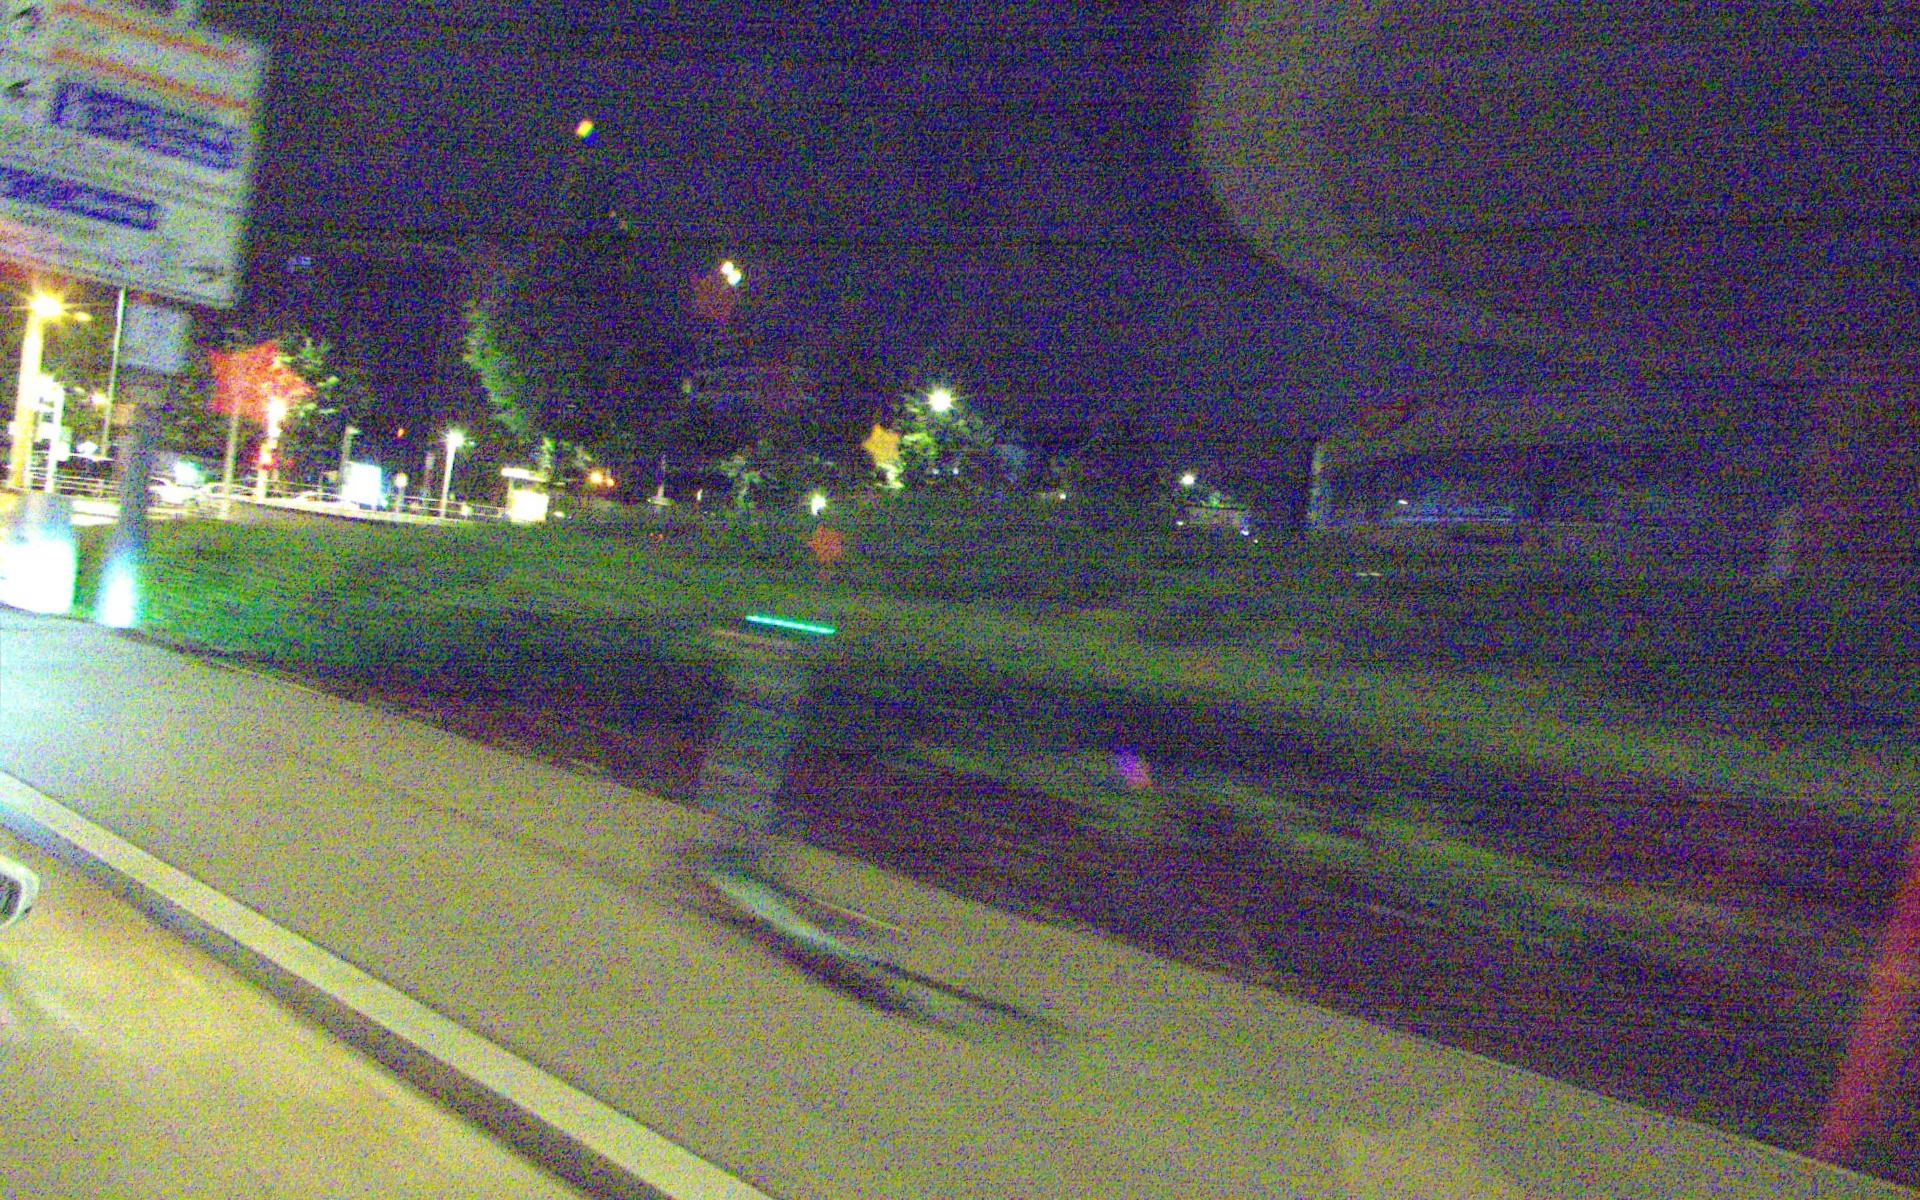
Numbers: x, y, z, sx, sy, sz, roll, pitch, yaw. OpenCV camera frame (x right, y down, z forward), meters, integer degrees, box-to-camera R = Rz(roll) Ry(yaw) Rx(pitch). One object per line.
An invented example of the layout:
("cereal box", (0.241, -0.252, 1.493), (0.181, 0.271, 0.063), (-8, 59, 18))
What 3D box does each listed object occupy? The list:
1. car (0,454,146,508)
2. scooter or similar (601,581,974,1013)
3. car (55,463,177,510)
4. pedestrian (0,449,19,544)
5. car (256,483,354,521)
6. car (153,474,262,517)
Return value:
("car", (-37.503, -4.995, 42.387), (1.969, 1.662, 4.606), (8, 4, 37))
("scooter or similar", (-0.683, 0.637, 3.782), (1.298, 1.279, 0.493), (8, 4, 33))
("car", (-38.970, -5.242, 46.522), (1.842, 1.638, 4.049), (8, 4, 40))
("pedestrian", (-18.316, -1.976, 18.809), (0.763, 1.735, 0.898), (7, 3, 37))
("car", (-34.751, -5.180, 53.426), (1.859, 1.596, 3.974), (8, 5, 42))
("car", (-35.161, -4.862, 47.057), (1.733, 1.548, 3.756), (8, 4, 40))
